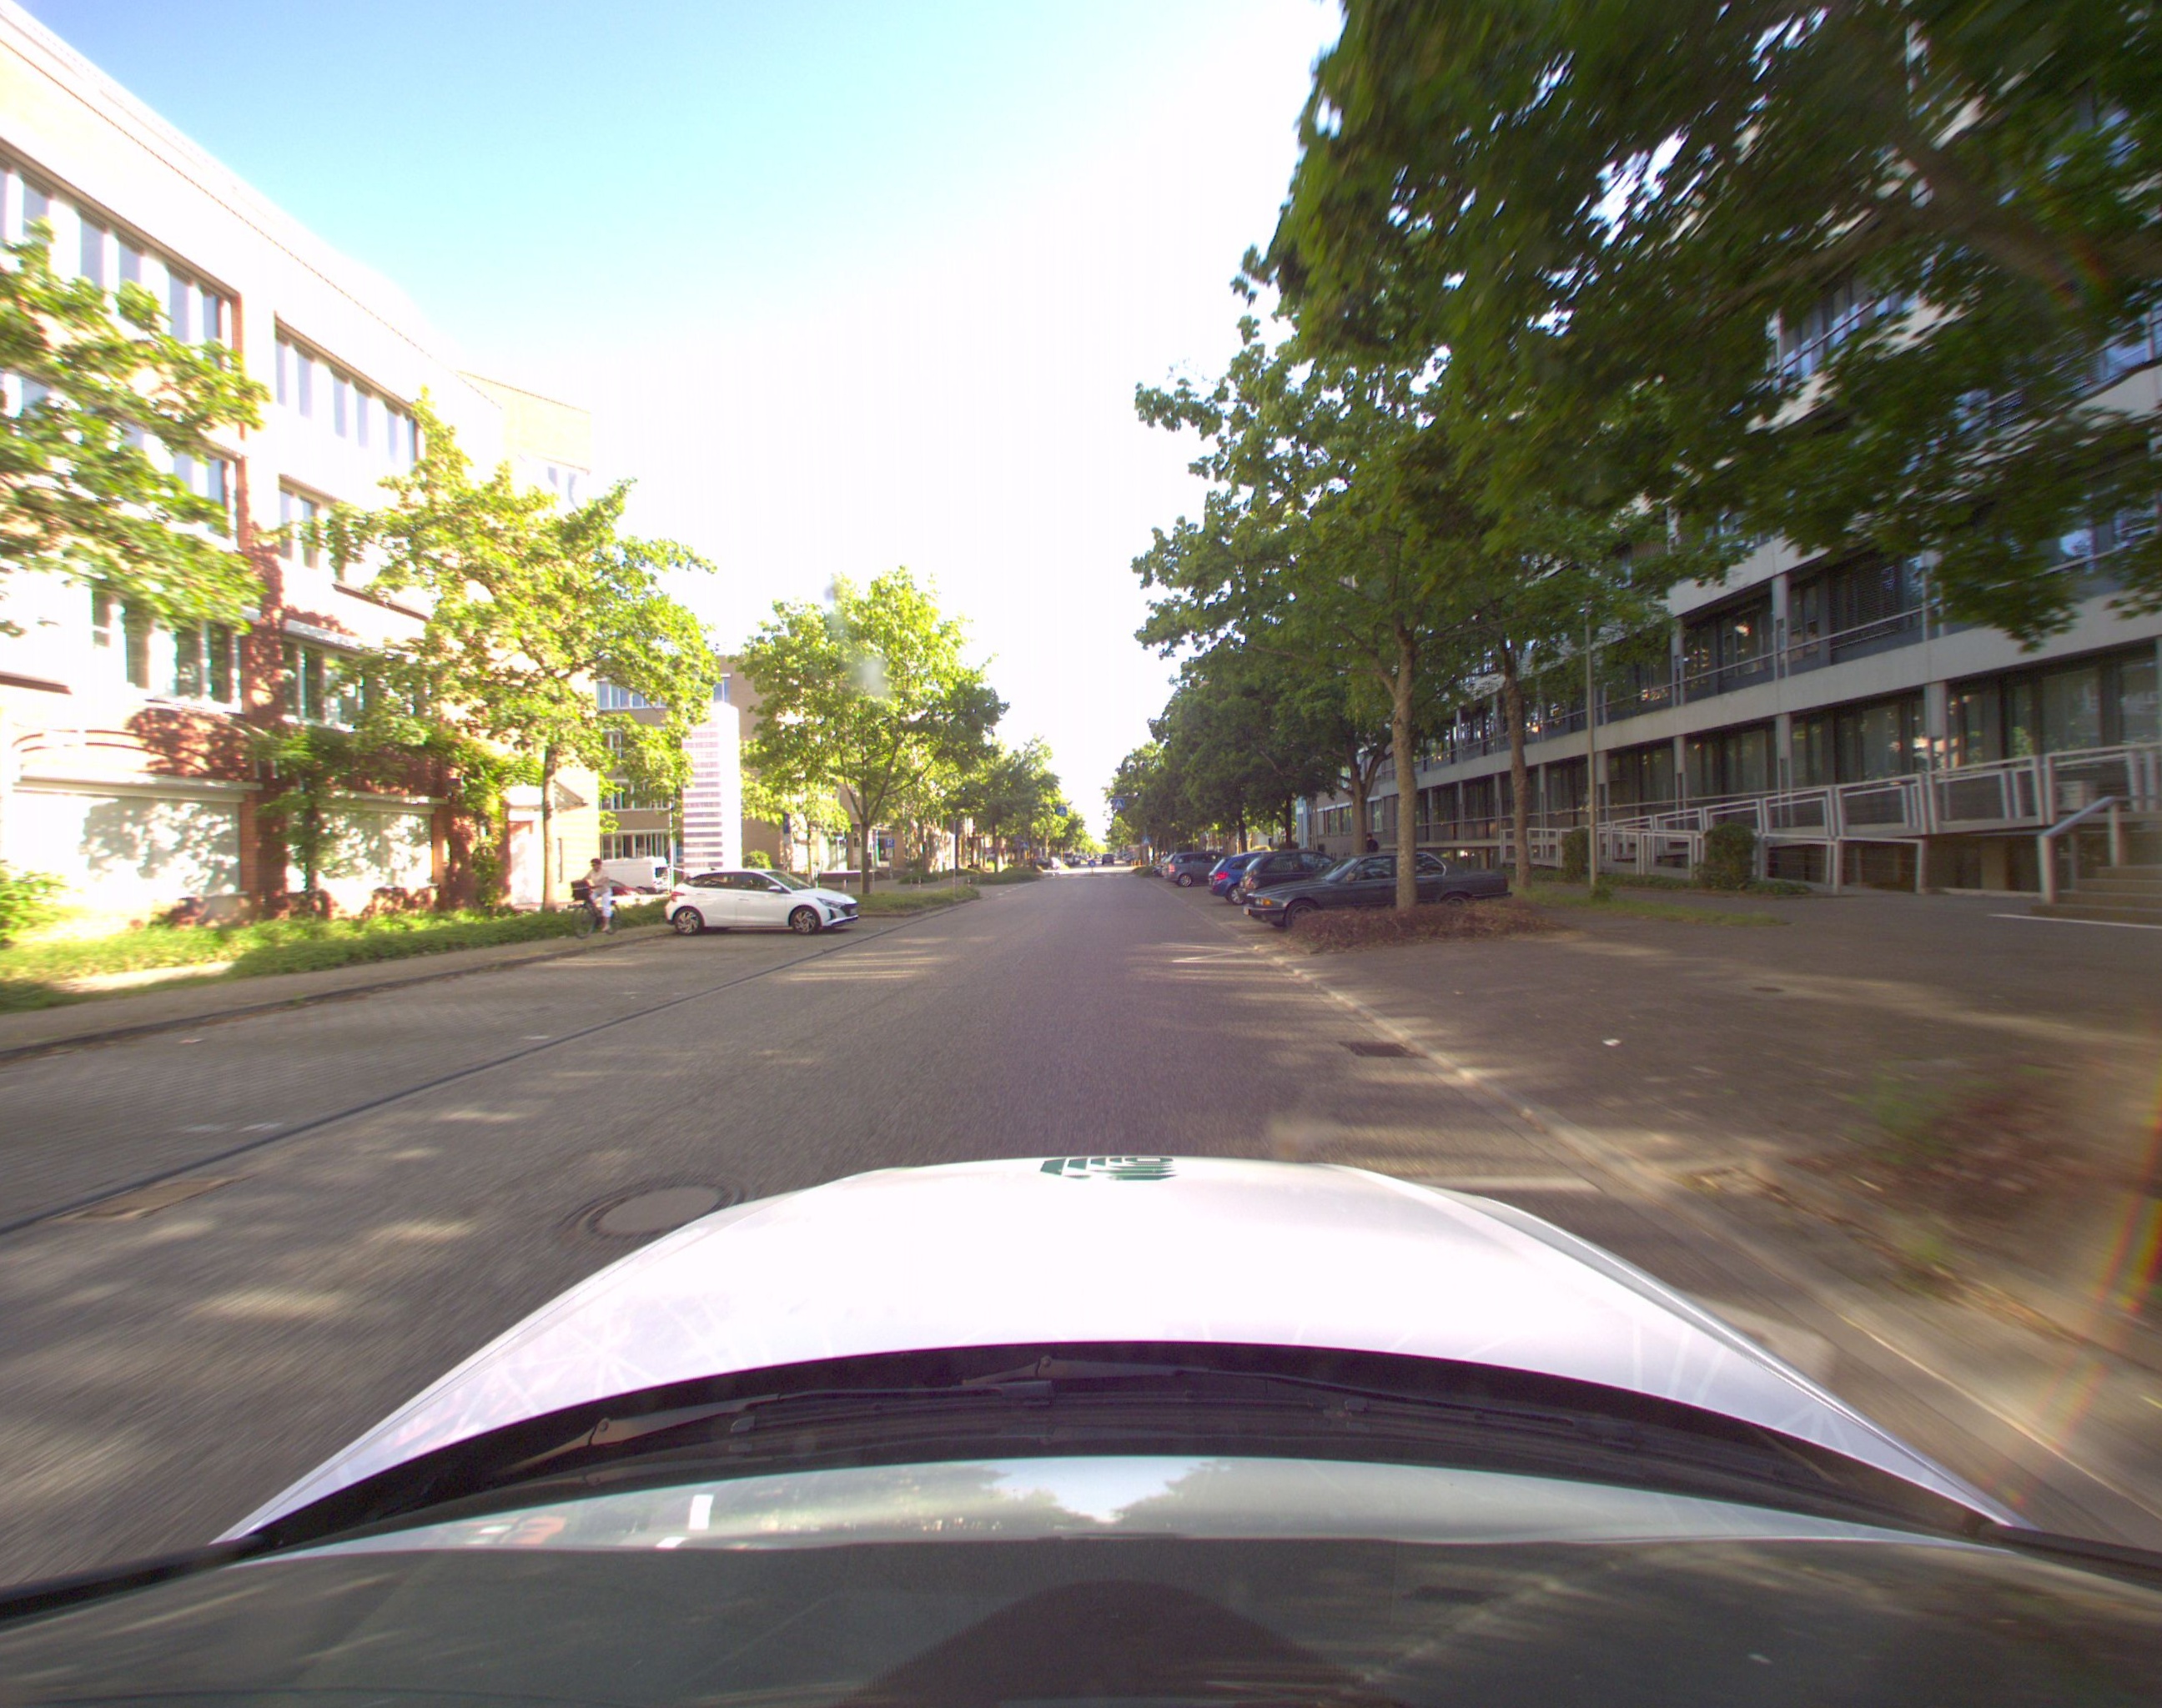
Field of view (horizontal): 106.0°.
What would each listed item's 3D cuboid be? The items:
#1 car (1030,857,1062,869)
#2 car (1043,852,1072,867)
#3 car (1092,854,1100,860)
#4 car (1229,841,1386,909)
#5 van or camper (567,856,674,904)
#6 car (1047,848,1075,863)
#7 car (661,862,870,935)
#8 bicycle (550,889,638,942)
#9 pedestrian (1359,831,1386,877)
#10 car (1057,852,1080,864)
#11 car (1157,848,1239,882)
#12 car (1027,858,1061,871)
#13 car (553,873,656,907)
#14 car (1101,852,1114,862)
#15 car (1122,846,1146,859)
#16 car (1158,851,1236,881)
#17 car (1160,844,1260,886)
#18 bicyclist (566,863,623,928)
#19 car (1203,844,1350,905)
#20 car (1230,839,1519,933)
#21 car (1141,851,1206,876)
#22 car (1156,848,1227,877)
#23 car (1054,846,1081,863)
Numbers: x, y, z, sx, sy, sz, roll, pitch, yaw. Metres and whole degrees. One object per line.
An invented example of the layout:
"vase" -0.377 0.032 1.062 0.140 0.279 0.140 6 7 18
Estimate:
"car" -4.234 1.048 98.062 3.841 1.473 1.810 0 0 -5
"car" -3.506 0.757 120.279 3.967 2.013 2.003 -2 0 5
"car" 4.015 0.868 219.298 1.806 1.525 4.003 -2 0 2
"car" 5.921 0.533 21.603 3.628 1.514 1.813 -4 0 1
"van or camper" -28.918 1.630 51.246 5.349 2.674 2.181 -2 1 1
"car" -3.058 0.256 123.549 3.967 2.013 2.003 -2 0 5
"car" -7.024 0.961 18.442 3.973 1.486 1.807 -1 0 0
"bicycle" -10.453 1.295 17.573 0.602 0.981 1.867 -2 0 6
"pedestrian" 11.428 0.009 31.968 0.605 1.745 1.191 -2 0 2
"car" -2.217 0.704 147.952 3.974 2.013 2.000 -2 0 0
"car" 6.390 0.600 44.778 4.179 1.536 1.812 -4 0 -2
"car" -4.216 1.232 93.199 3.841 1.473 1.810 0 0 -5
"car" -24.713 1.887 42.338 4.176 1.477 2.000 -3 -3 2
"car" 4.347 0.553 133.497 1.986 1.640 4.001 0 0 2
"car" 9.286 -0.241 142.331 3.974 2.013 2.000 -2 0 0
"car" 6.707 0.695 47.273 4.179 1.448 1.812 -4 0 -2
"car" 6.043 0.509 38.378 4.339 1.704 1.812 -4 0 -2
"bicyclist" -10.472 0.875 17.552 0.602 1.353 0.914 -2 0 6
"car" 5.729 0.599 24.206 3.933 1.514 1.814 -4 0 3
"car" 5.507 0.581 15.770 4.810 1.420 2.031 -4 0 0
"car" 6.407 0.646 56.721 4.179 1.473 1.812 -4 0 -2
"car" 7.002 0.530 51.871 4.179 1.536 1.812 -4 0 -2
"car" -2.116 0.079 128.627 3.966 2.541 1.866 -1 0 6
